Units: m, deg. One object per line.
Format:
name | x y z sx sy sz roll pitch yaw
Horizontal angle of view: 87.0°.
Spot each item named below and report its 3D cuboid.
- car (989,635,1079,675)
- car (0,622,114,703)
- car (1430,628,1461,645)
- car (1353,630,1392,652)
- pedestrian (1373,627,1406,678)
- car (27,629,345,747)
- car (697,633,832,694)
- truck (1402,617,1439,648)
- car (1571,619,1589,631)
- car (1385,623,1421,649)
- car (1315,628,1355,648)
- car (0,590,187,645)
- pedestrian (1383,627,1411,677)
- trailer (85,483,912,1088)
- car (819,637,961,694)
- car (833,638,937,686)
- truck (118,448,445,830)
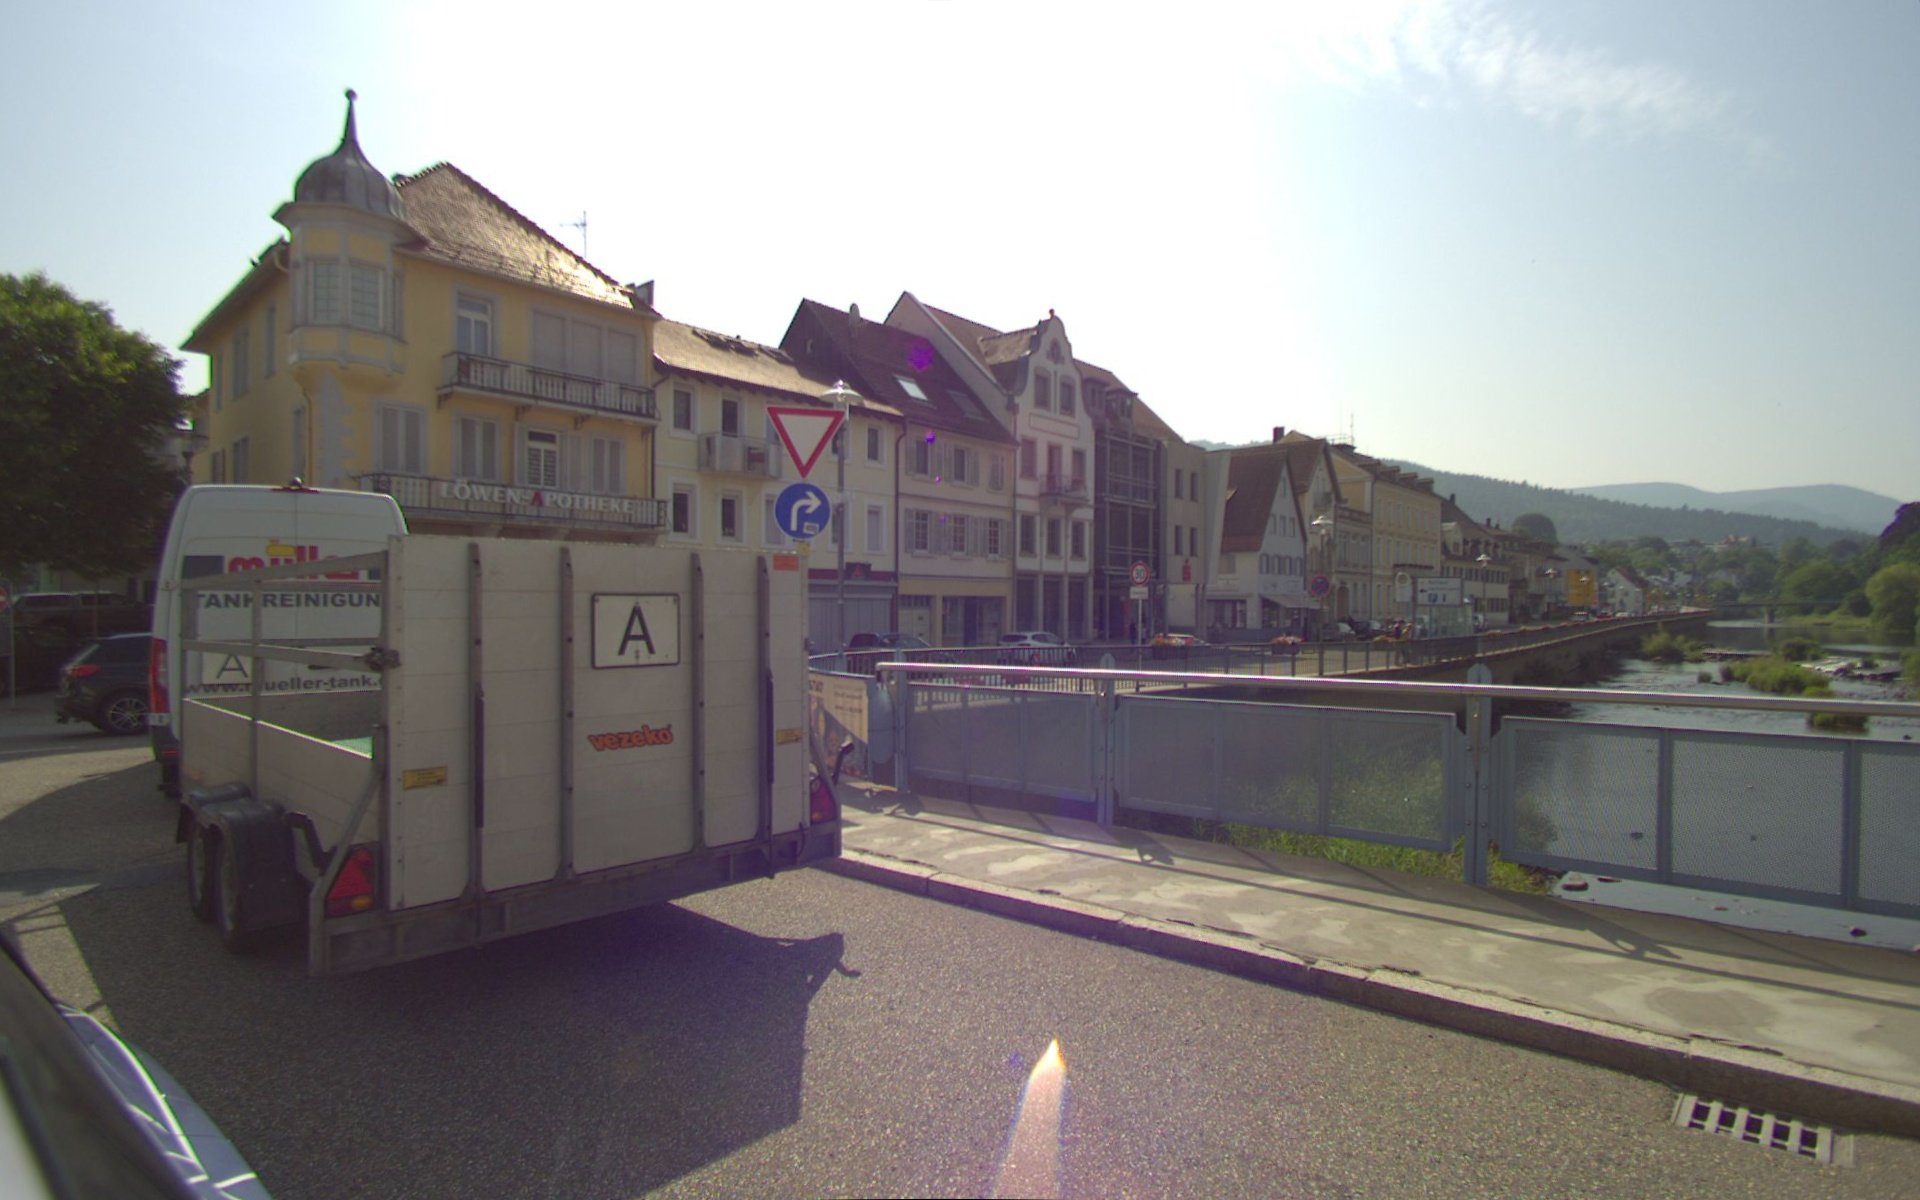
car | 2.956 2.128 39.908 1.750 1.459 3.746 -1 -2 38
car | -20.839 1.337 21.814 1.897 1.554 3.958 0 1 1
car | 42.870 3.228 89.328 1.750 1.459 3.234 -1 -2 38
car | 29.182 2.890 71.608 1.750 1.459 3.234 -1 -2 38
pedestrian | 14.858 1.811 35.002 0.869 1.719 0.766 -1 -1 42
car | -12.520 1.326 16.542 1.684 1.572 3.914 -1 -1 43
car | -5.620 1.785 29.341 1.850 1.580 3.522 -1 -2 38
truck | 38.696 2.695 84.933 1.750 2.487 4.601 -1 -2 38
car | 78.431 3.145 128.022 1.517 1.459 3.234 -1 -2 38
car | 35.178 2.836 80.340 1.750 1.950 3.531 -1 -2 38
car | 24.927 2.517 67.228 1.567 1.229 3.234 -1 -2 38
car | -32.220 0.636 37.787 1.996 1.905 5.012 -1 -1 35
pedestrian | 15.312 1.813 35.453 0.791 1.719 0.485 -1 -1 42
trailer | -3.149 0.651 5.999 5.639 1.841 2.581 -2 -2 44
car | -1.944 1.835 29.125 1.754 1.367 4.146 -2 -1 38
car | -2.449 2.012 33.533 1.750 1.459 3.234 -1 -2 38
truck | -7.202 0.441 10.739 2.077 2.719 7.150 1 -3 -35
